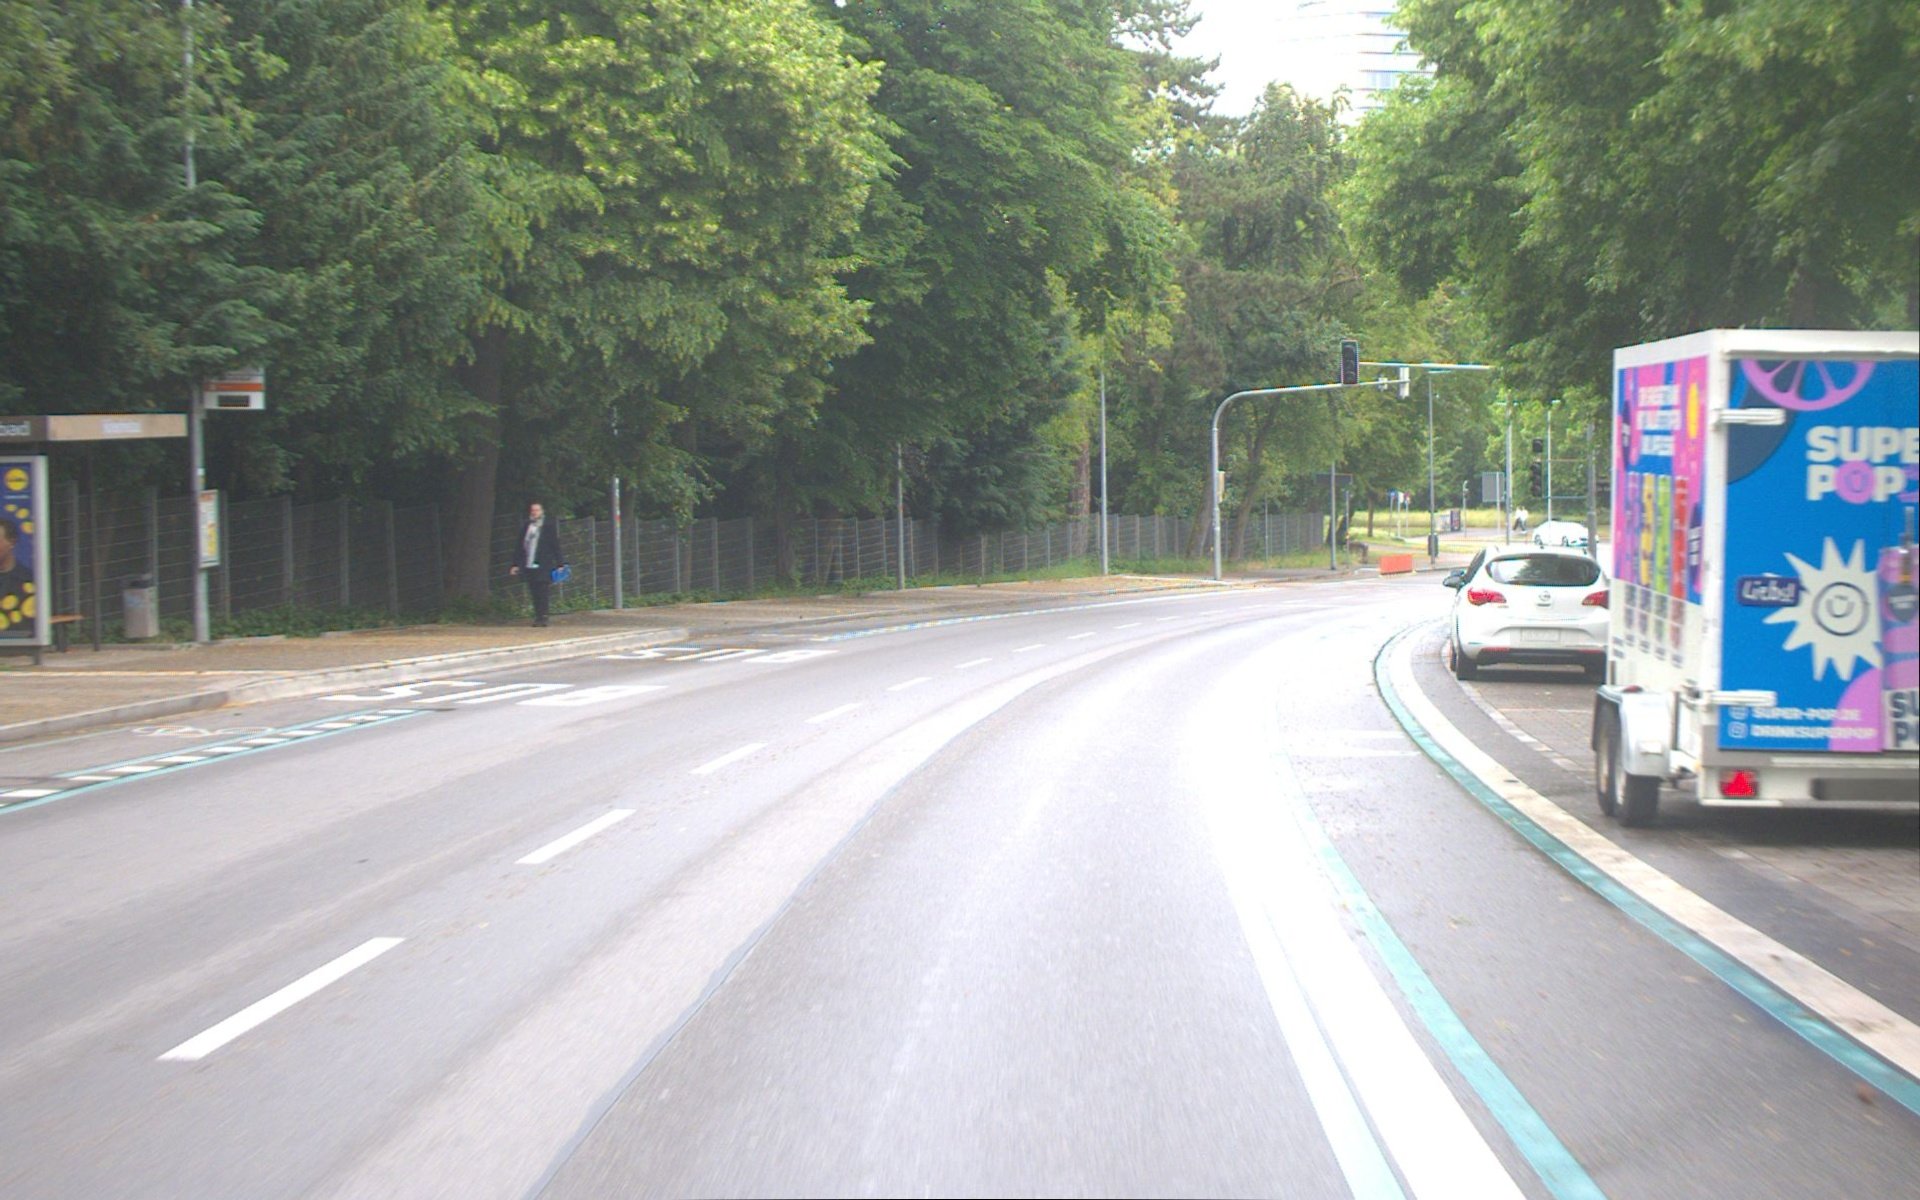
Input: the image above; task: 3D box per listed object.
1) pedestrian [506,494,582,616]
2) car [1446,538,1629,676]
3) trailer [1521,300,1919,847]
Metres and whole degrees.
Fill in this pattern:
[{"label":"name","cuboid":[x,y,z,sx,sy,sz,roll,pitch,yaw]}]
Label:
[{"label":"pedestrian","cuboid":[-5.981,-0.649,49.466,0.887,1.727,1.146,1,1,3]},{"label":"car","cuboid":[6.452,0.040,38.794,1.860,1.423,4.648,1,1,8]},{"label":"trailer","cuboid":[4.659,-0.179,19.445,2.316,2.663,5.376,1,1,3]}]
